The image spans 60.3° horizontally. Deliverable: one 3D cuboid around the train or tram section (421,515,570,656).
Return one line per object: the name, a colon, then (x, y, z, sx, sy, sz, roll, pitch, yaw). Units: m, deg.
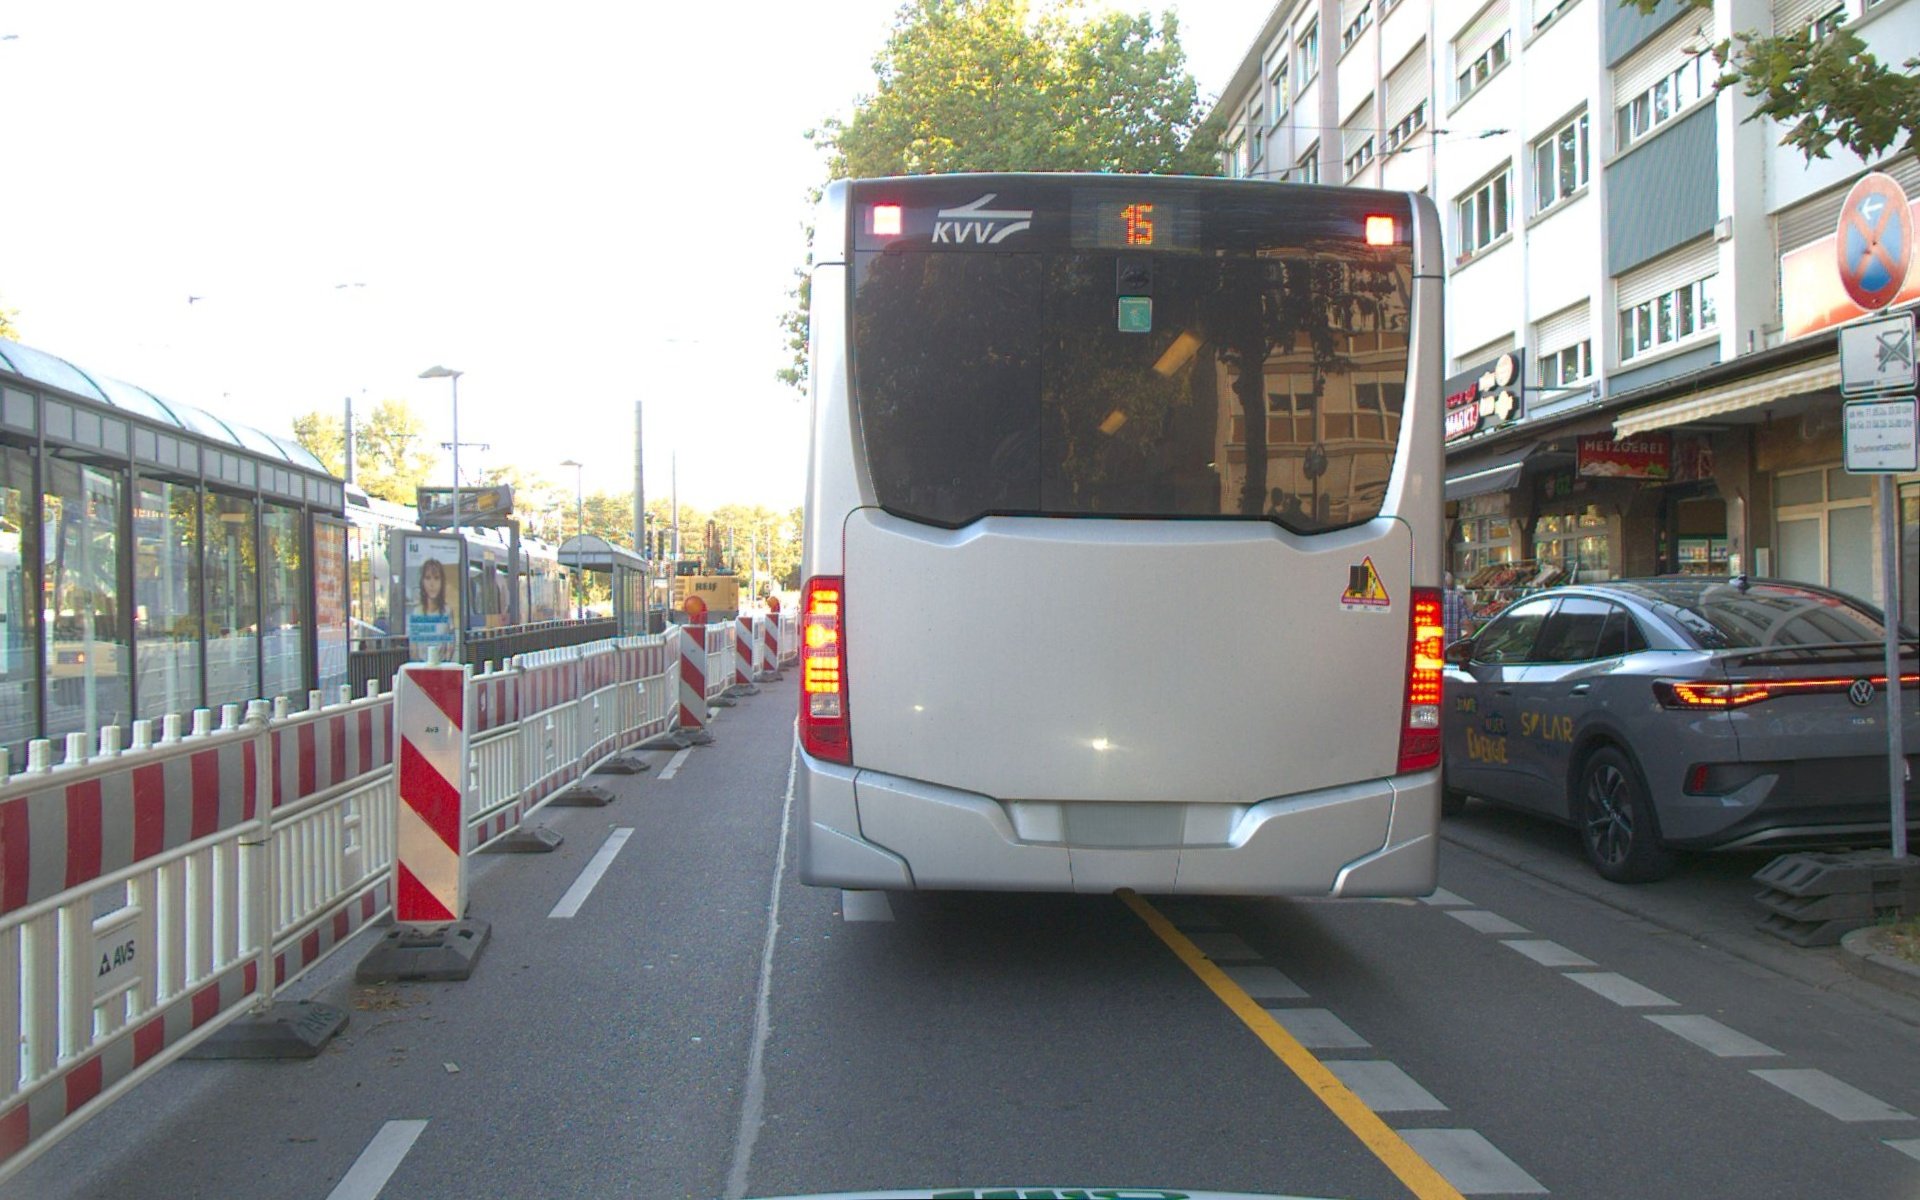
train or tram section: (-13.367, -0.366, 48.530, 2.636, 3.594, 11.559, 1, 0, -8)

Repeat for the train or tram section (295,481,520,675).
train or tram section: (-11.960, -0.392, 37.026, 2.636, 3.621, 11.560, 1, 0, -8)

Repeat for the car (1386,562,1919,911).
car: (4.362, 0.627, 10.200, 1.955, 1.609, 4.363, -3, 1, -5)

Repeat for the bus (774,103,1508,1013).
bus: (0.597, -0.136, 9.882, 2.558, 3.181, 7.991, 1, 0, -1)

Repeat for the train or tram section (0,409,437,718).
train or tram section: (-10.661, -0.407, 25.400, 2.635, 3.595, 11.755, 1, 0, -6)

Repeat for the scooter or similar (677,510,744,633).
scooter or similar: (-9.705, -1.065, 64.619, 2.422, 4.549, 5.962, 0, 0, -8)

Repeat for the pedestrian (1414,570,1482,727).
pedestrian: (5.418, 0.530, 18.379, 0.649, 1.696, 0.601, -2, -1, 15)

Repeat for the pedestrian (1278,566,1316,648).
pedestrian: (7.823, 0.160, 38.420, 0.672, 1.869, 0.785, -1, 0, -4)

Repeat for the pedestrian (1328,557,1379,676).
pedestrian: (6.876, 0.290, 28.932, 0.672, 2.049, 0.786, -1, 0, -1)

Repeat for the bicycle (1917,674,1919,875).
bicycle: (4.368, 0.904, 6.406, 0.541, 1.175, 1.444, -1, 0, 3)
